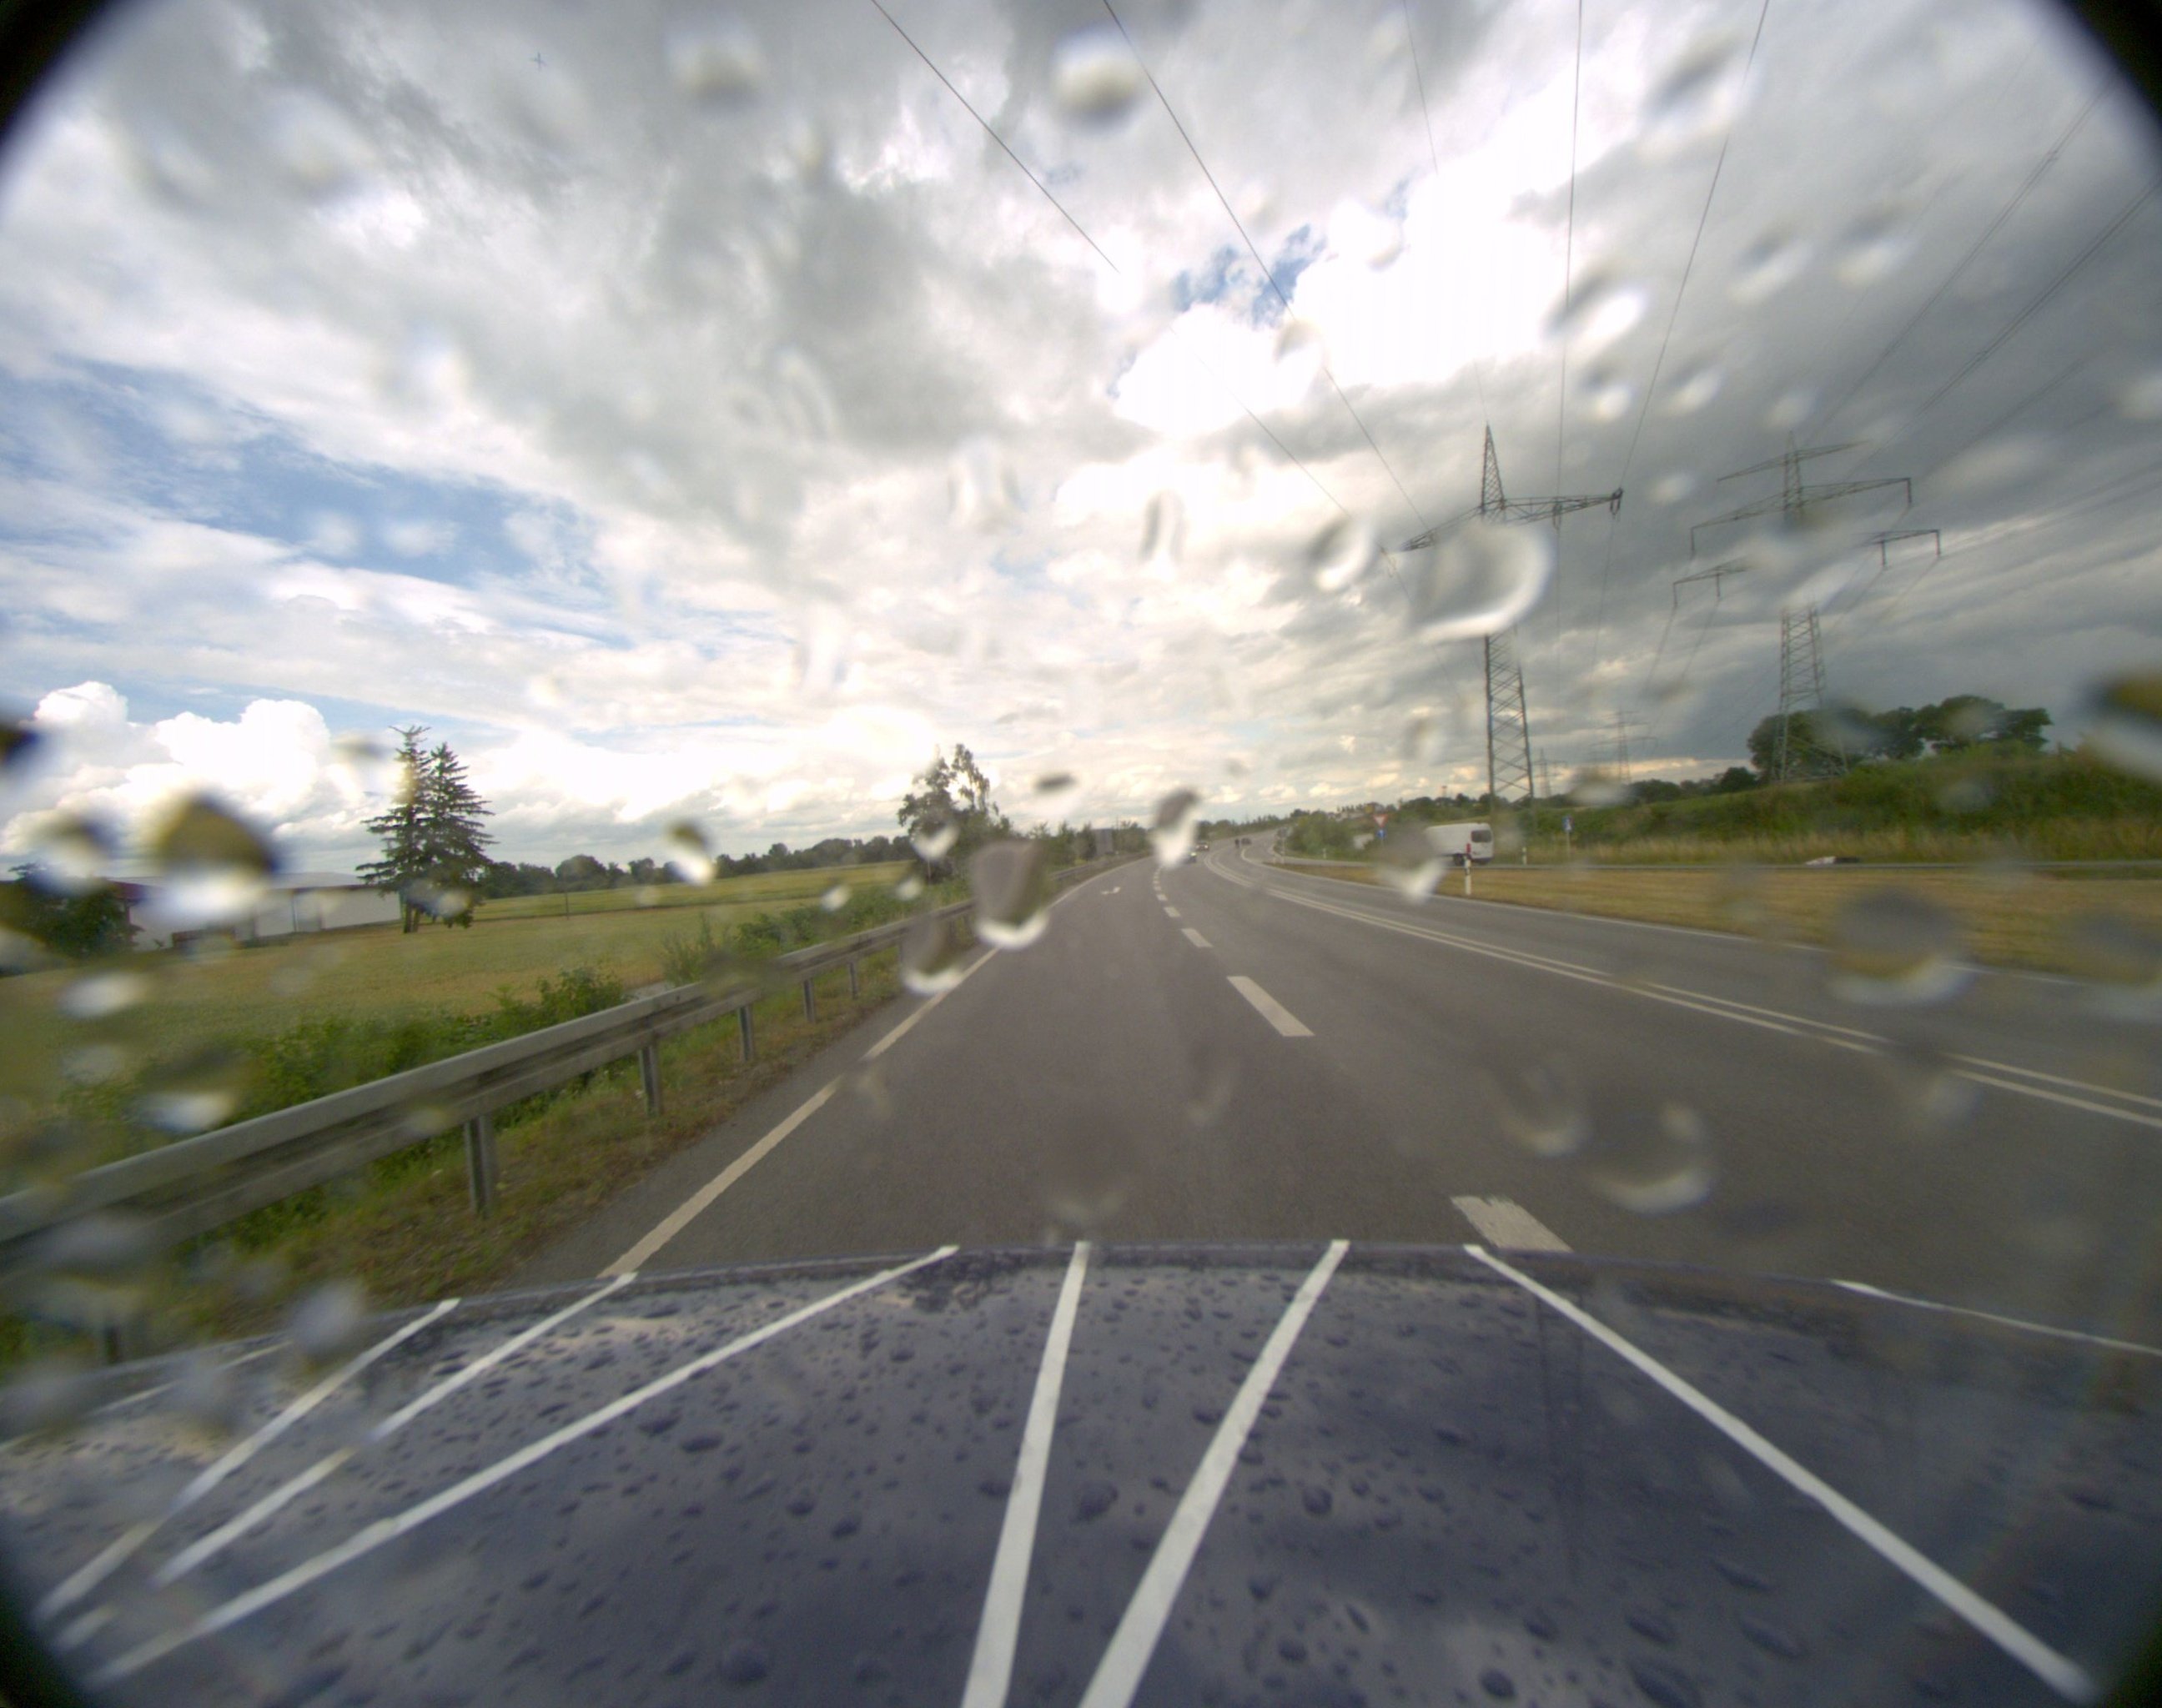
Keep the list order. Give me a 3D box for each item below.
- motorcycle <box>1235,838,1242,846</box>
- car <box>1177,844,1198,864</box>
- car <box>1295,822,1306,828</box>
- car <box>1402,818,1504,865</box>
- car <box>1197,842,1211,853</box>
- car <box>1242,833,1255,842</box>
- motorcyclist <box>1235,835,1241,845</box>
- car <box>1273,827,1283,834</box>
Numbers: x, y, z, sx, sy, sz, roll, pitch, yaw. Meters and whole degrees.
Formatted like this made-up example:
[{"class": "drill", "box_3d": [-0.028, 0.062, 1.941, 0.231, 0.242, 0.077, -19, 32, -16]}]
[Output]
[{"class": "motorcycle", "box_3d": [25.306, -1.945, 122.234, 0.803, 1.231, 2.187, -2, 1, 17]}, {"class": "car", "box_3d": [9.977, -0.038, 71.596, 1.795, 1.758, 4.001, -3, 1, 7]}, {"class": "car", "box_3d": [62.786, -8.258, 217.143, 1.800, 1.566, 4.267, 1, 3, 36]}, {"class": "car", "box_3d": [23.763, -0.789, 48.868, 2.216, 2.734, 6.010, -4, 2, -19]}, {"class": "car", "box_3d": [18.753, -1.027, 115.362, 1.747, 1.488, 4.053, -3, 1, 13]}, {"class": "car", "box_3d": [31.015, -2.994, 140.569, 1.801, 1.585, 4.230, -2, 1, 19]}, {"class": "motorcyclist", "box_3d": [25.255, -2.204, 122.133, 0.803, 1.526, 0.825, -2, 1, 17]}, {"class": "car", "box_3d": [50.058, -5.968, 193.424, 1.707, 1.472, 4.616, -2, 3, 24]}]
